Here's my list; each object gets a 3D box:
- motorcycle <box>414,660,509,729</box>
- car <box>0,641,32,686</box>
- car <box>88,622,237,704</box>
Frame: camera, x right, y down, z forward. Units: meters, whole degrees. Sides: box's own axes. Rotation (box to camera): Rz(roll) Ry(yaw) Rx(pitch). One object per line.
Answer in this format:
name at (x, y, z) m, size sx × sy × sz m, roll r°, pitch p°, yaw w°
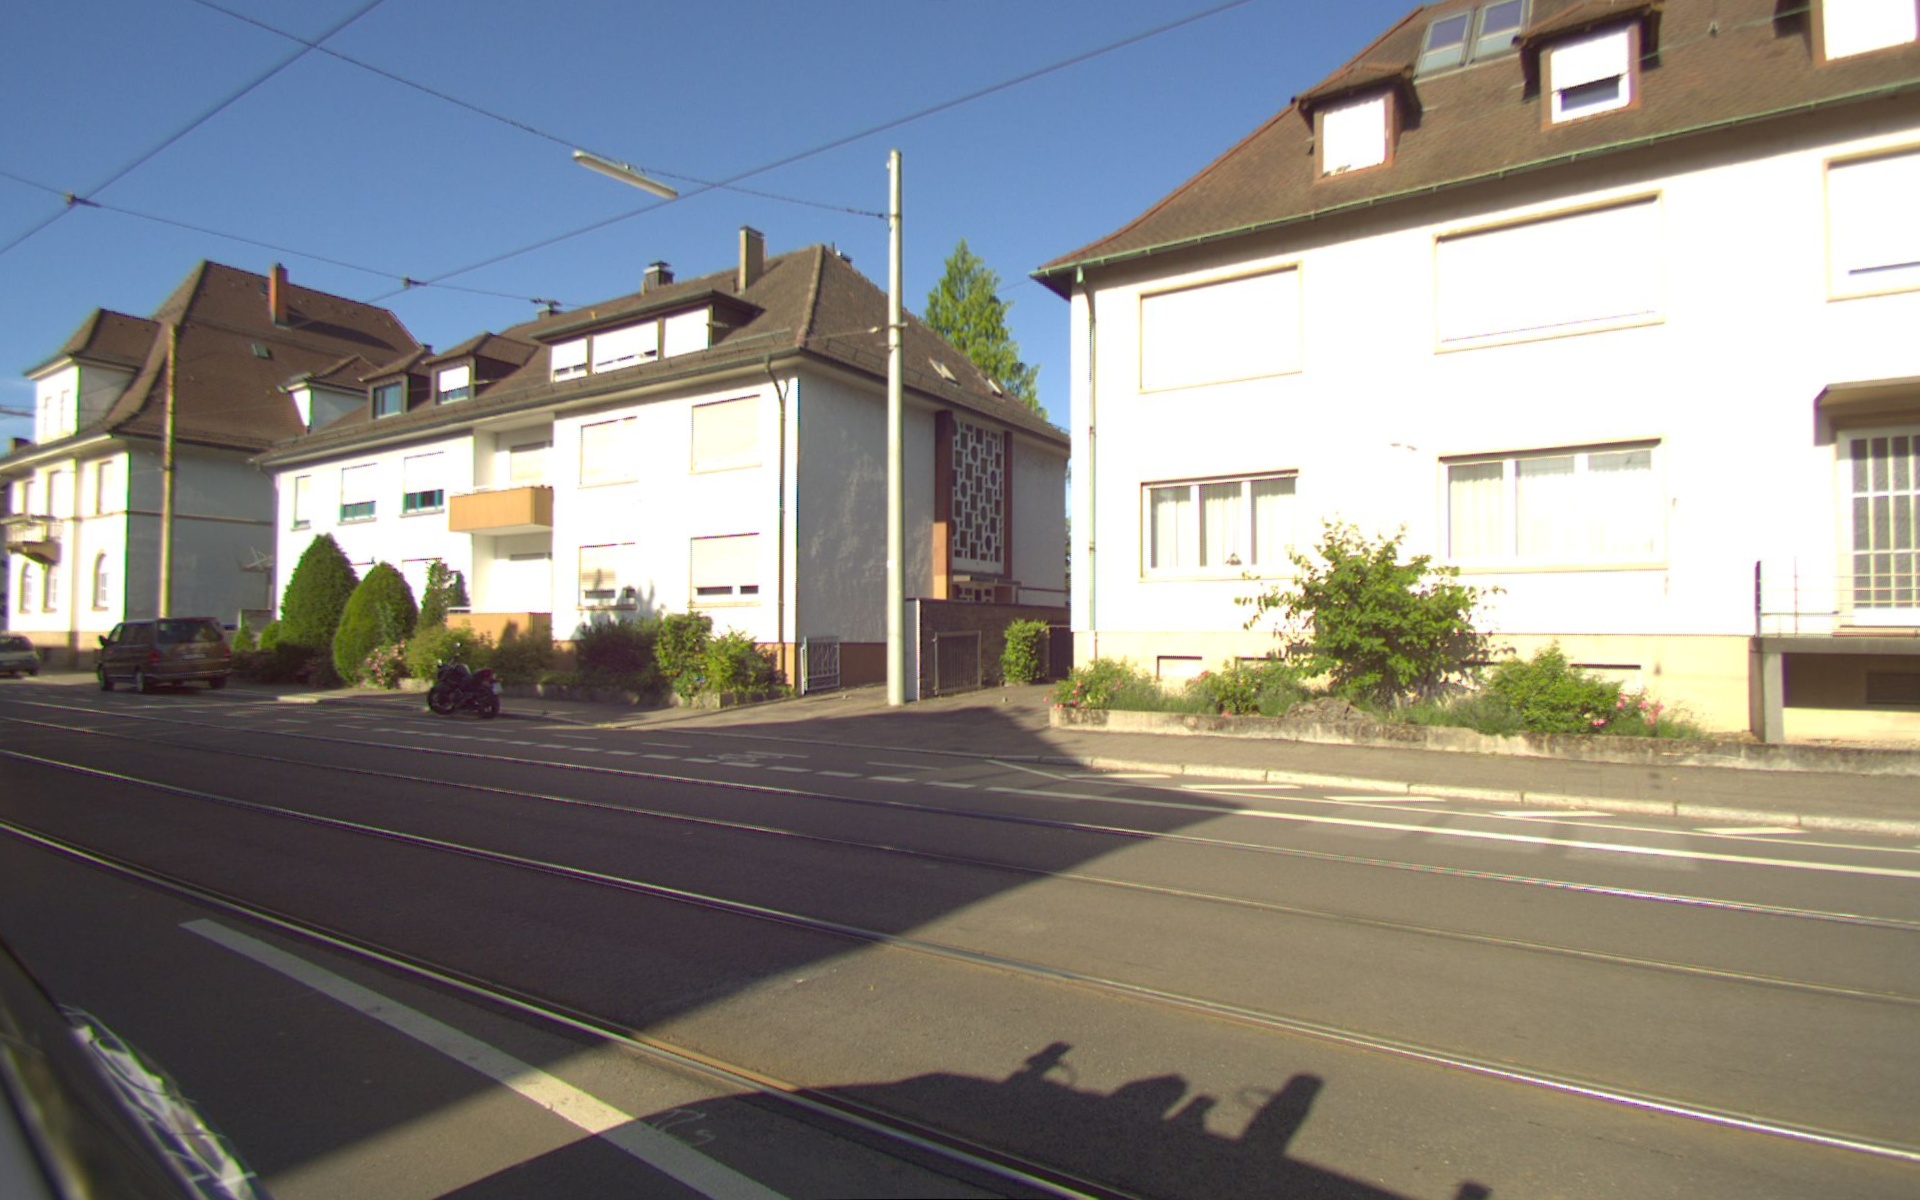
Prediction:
motorcycle at (-9.213, 1.720, 18.668) m, size 2.166 × 1.171 × 0.532 m, roll -1°, pitch -5°, yaw 34°
car at (-33.890, 2.180, 35.111) m, size 3.824 × 1.488 × 1.663 m, roll -2°, pitch -1°, yaw 34°
car at (-21.704, 1.651, 27.476) m, size 4.938 × 2.029 × 1.889 m, roll -2°, pitch -1°, yaw 36°
